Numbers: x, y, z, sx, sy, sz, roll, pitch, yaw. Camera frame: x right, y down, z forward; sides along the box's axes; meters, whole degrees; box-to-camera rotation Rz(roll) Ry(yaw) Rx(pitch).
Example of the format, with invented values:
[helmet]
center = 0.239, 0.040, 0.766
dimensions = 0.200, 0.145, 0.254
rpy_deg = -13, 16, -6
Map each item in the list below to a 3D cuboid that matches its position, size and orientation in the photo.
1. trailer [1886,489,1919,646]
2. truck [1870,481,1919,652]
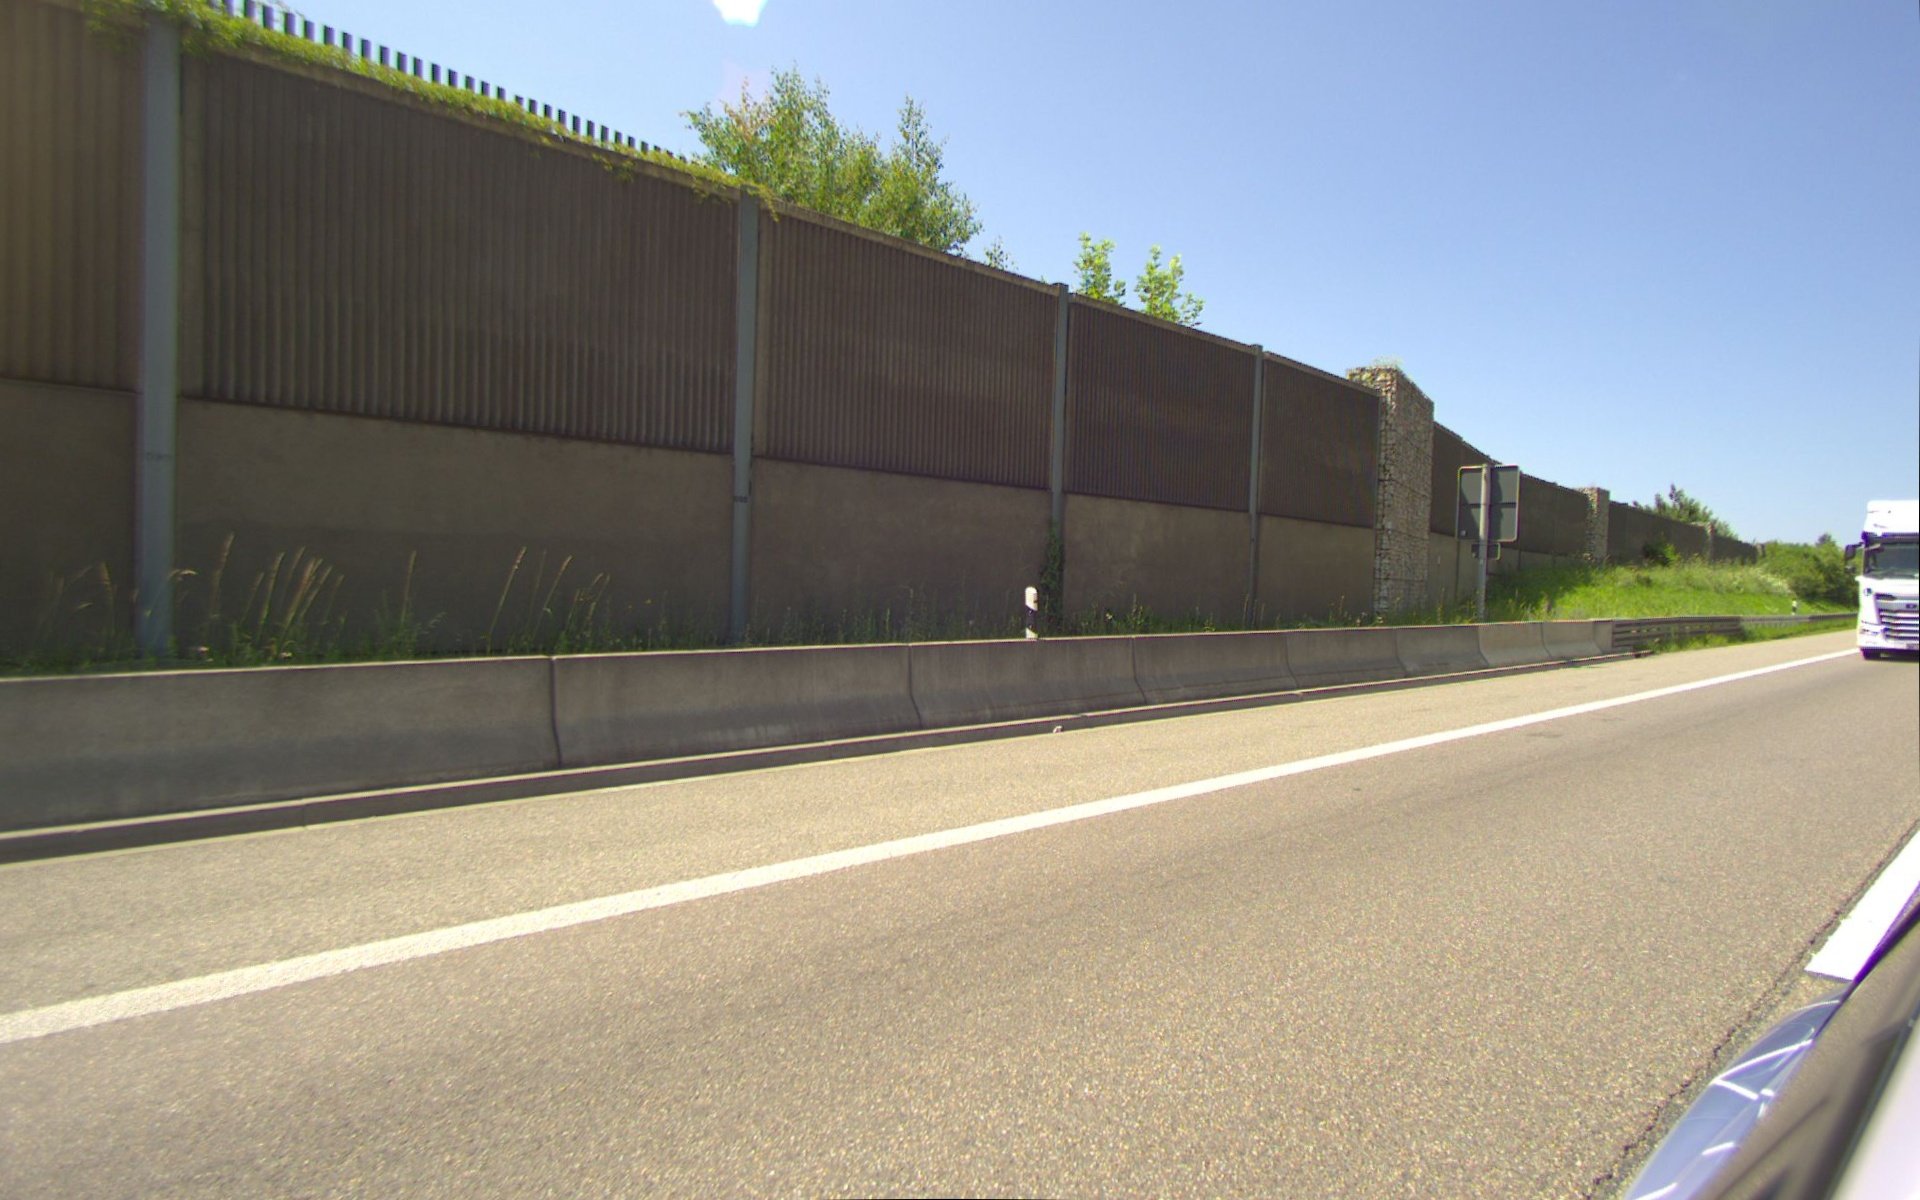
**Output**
[trailer]
center = 29.954, -0.850, 29.770
dimensions = 13.417, 4.027, 2.482
rpy_deg = 0, 1, -41
[truck]
center = 25.239, -0.797, 25.634
dimensions = 6.269, 4.027, 2.482
rpy_deg = 0, 1, -41
